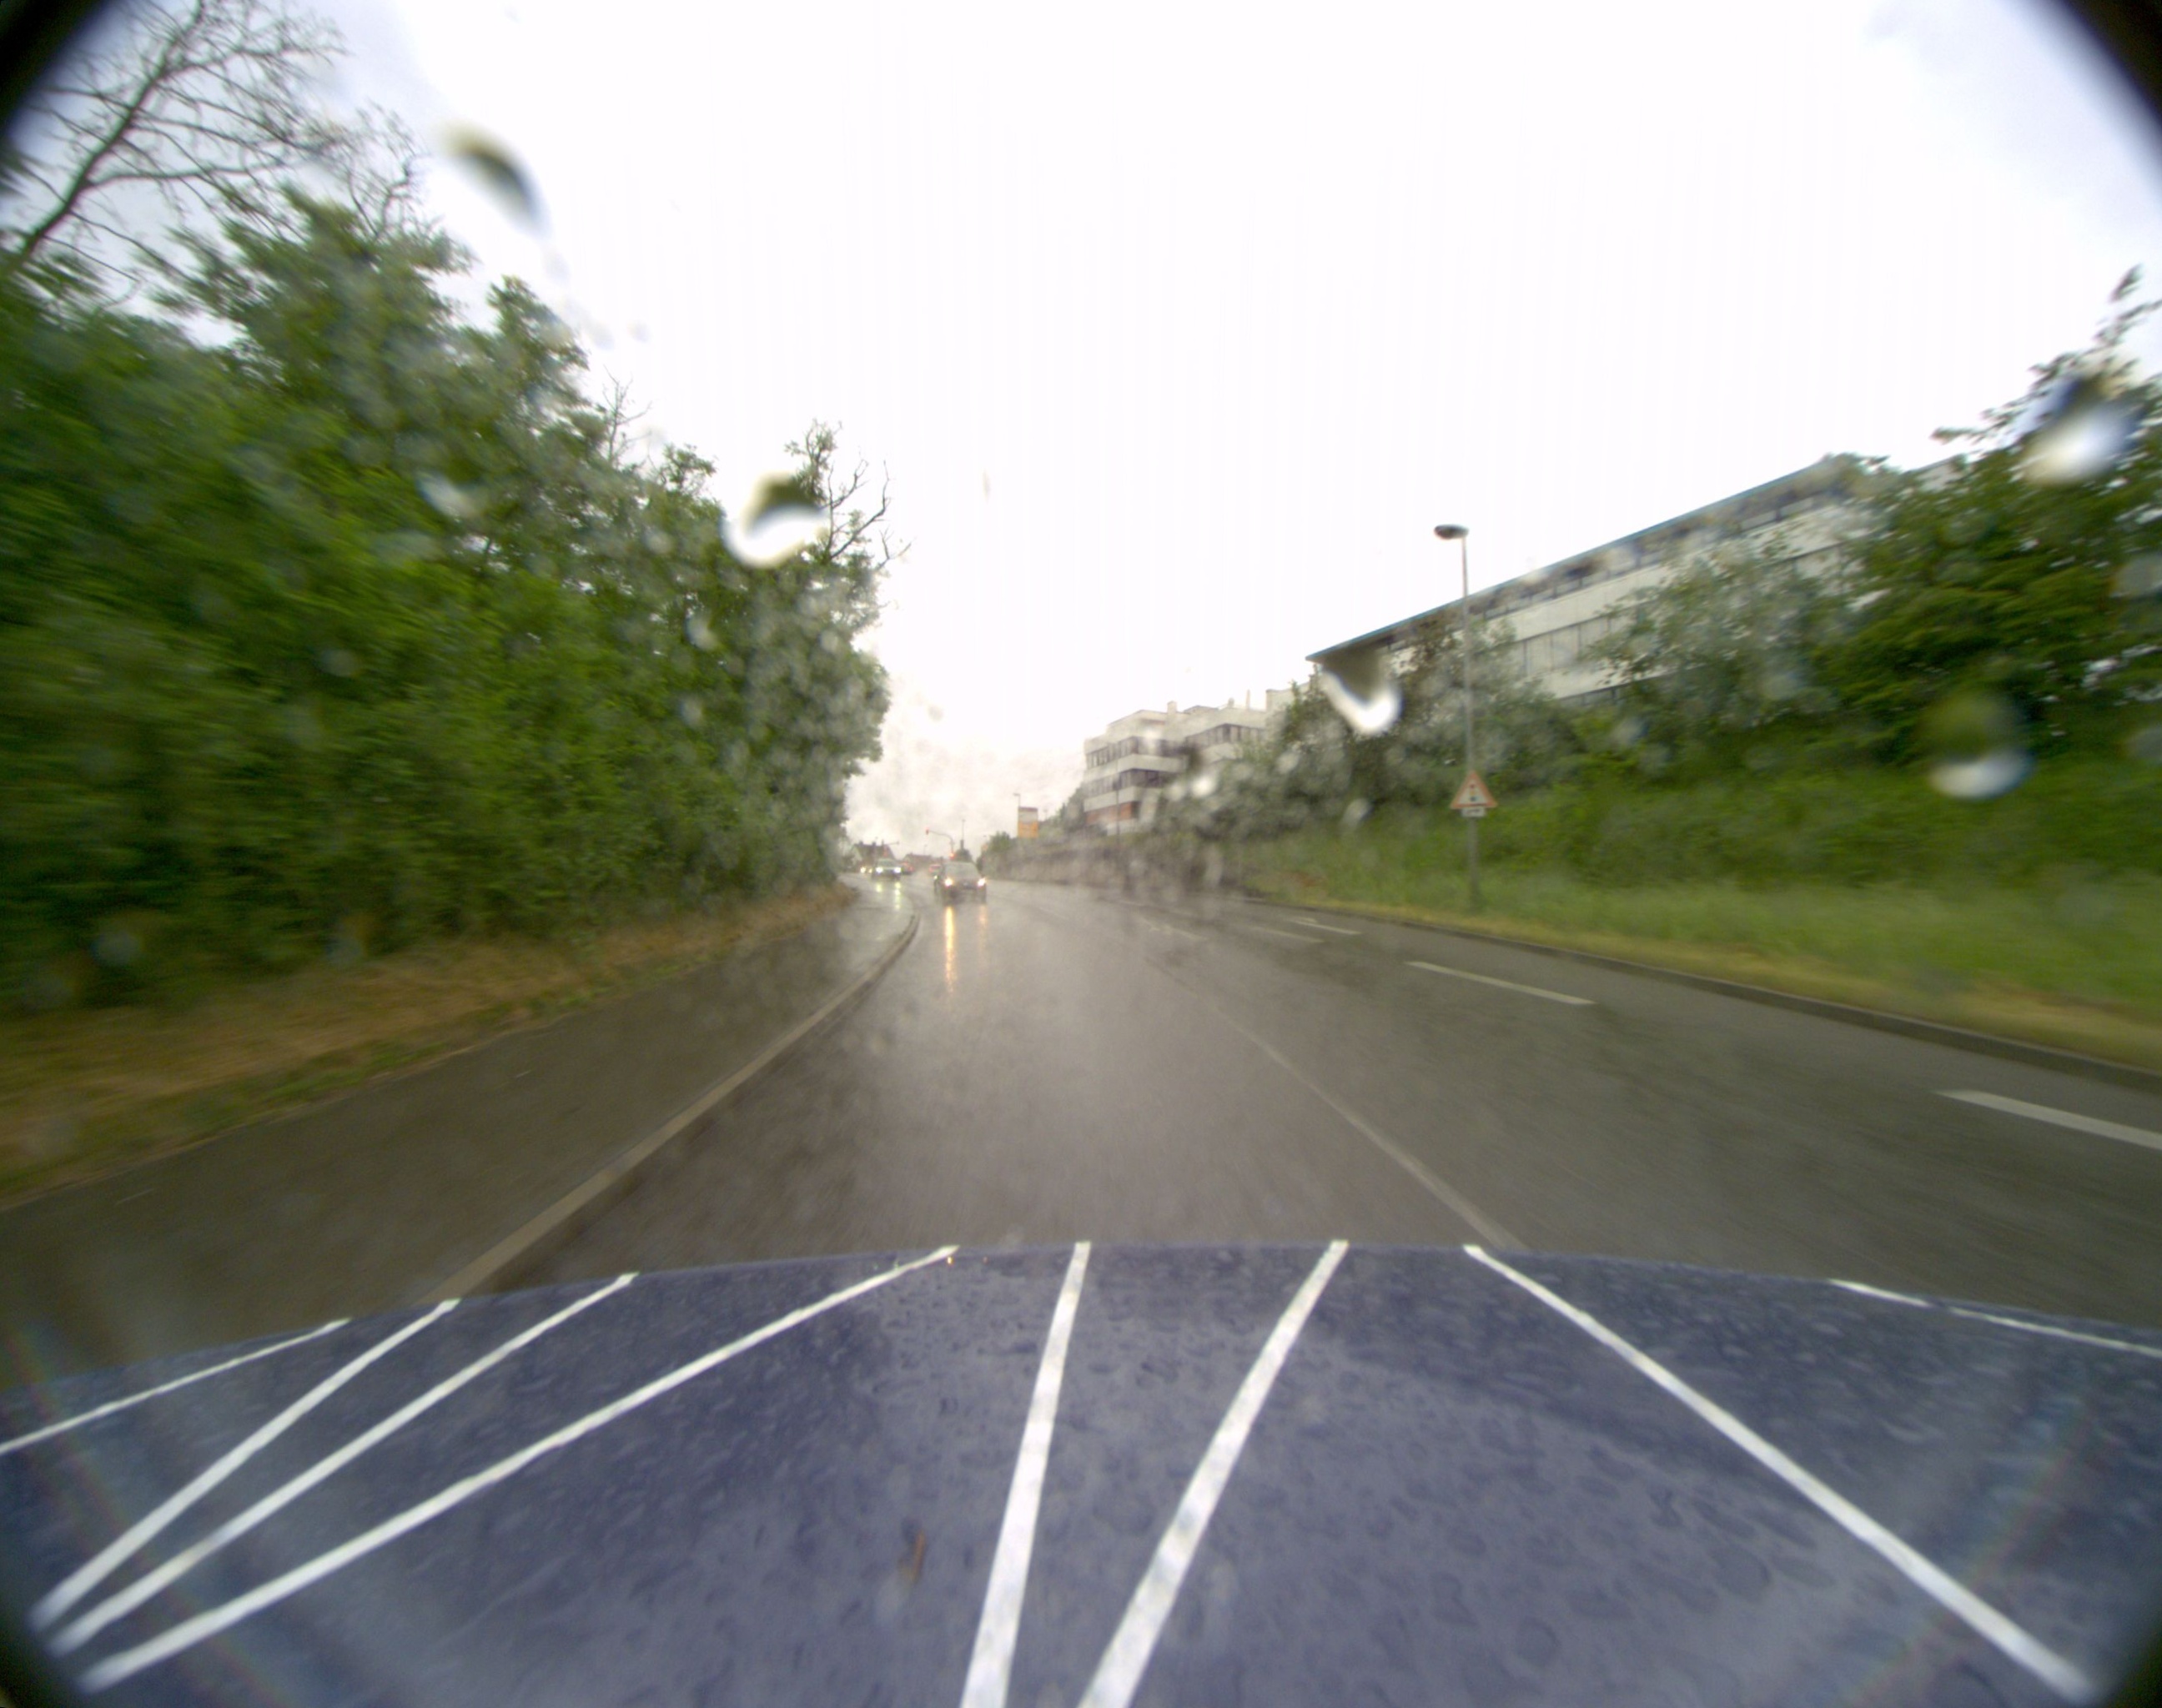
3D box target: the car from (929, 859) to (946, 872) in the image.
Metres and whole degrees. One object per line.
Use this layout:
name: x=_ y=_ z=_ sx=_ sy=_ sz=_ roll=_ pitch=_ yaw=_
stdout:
car: x=-17.278 y=1.333 z=91.356 sx=1.740 sy=1.452 sz=3.716 roll=0 pitch=1 yaw=-15

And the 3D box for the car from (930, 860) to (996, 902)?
car: x=-4.771 y=1.006 z=30.147 sx=1.877 sy=1.433 sz=4.370 roll=-1 pitch=1 yaw=-19

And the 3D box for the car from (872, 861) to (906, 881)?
car: x=-14.328 y=1.241 z=56.478 sx=1.877 sy=1.432 sz=4.370 roll=2 pitch=-1 yaw=-21

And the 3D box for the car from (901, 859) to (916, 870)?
car: x=-22.416 y=1.382 z=98.708 sx=1.740 sy=1.297 sz=3.716 roll=0 pitch=1 yaw=-15

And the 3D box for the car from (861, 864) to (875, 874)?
car: x=-32.379 y=2.238 z=115.590 sx=1.956 sy=1.432 sz=4.373 roll=-3 pitch=0 yaw=-14

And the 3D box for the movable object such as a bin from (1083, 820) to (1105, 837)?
movable object such as a bin: x=0.978 y=-1.913 z=57.645 sx=1.246 sy=1.204 sz=1.340 roll=0 pitch=0 yaw=-19

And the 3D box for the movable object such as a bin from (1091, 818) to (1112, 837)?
movable object such as a bin: x=1.510 y=-1.987 z=56.358 sx=1.246 sy=1.338 sz=1.216 roll=0 pitch=0 yaw=-18
